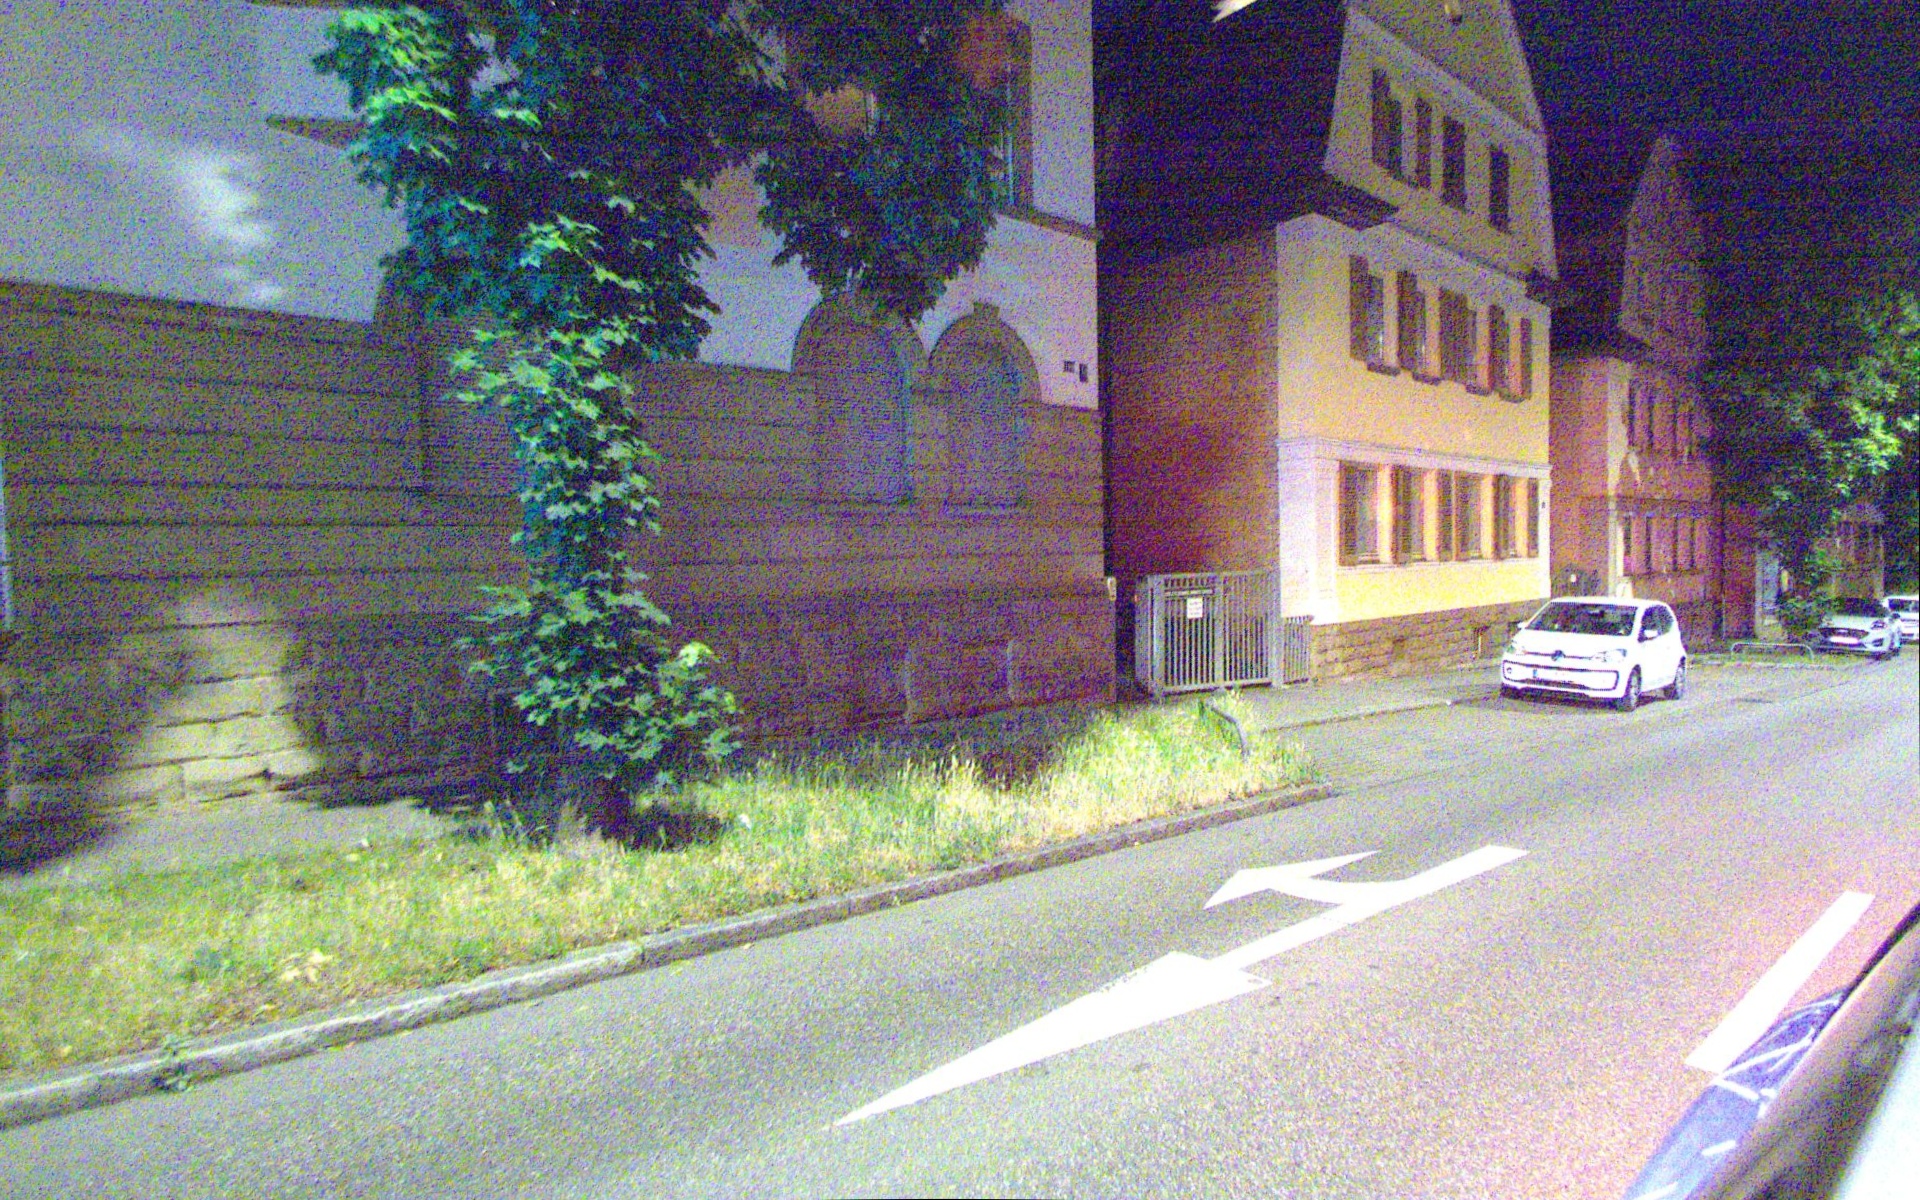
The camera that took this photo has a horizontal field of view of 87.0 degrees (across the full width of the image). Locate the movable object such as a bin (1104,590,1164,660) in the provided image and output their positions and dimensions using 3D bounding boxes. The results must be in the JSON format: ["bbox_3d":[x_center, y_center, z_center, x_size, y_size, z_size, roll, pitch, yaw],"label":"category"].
[{"bbox_3d":[2.723,0.375,15.846,0.742,1.062,0.608,0,0,-41],"label":"movable object such as a bin"}]

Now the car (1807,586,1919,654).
[{"bbox_3d":[23.800,0.473,26.575,3.977,1.572,1.862,0,3,-43],"label":"car"}]

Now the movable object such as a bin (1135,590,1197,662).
[{"bbox_3d":[3.131,0.384,15.365,0.742,1.062,0.608,0,0,-41],"label":"movable object such as a bin"}]

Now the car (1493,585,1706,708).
[{"bbox_3d":[9.316,0.579,14.654,3.541,1.503,1.671,0,2,-42],"label":"car"}]

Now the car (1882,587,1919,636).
[{"bbox_3d":[33.783,0.393,35.344,4.281,1.616,1.742,0,3,-40],"label":"car"}]
